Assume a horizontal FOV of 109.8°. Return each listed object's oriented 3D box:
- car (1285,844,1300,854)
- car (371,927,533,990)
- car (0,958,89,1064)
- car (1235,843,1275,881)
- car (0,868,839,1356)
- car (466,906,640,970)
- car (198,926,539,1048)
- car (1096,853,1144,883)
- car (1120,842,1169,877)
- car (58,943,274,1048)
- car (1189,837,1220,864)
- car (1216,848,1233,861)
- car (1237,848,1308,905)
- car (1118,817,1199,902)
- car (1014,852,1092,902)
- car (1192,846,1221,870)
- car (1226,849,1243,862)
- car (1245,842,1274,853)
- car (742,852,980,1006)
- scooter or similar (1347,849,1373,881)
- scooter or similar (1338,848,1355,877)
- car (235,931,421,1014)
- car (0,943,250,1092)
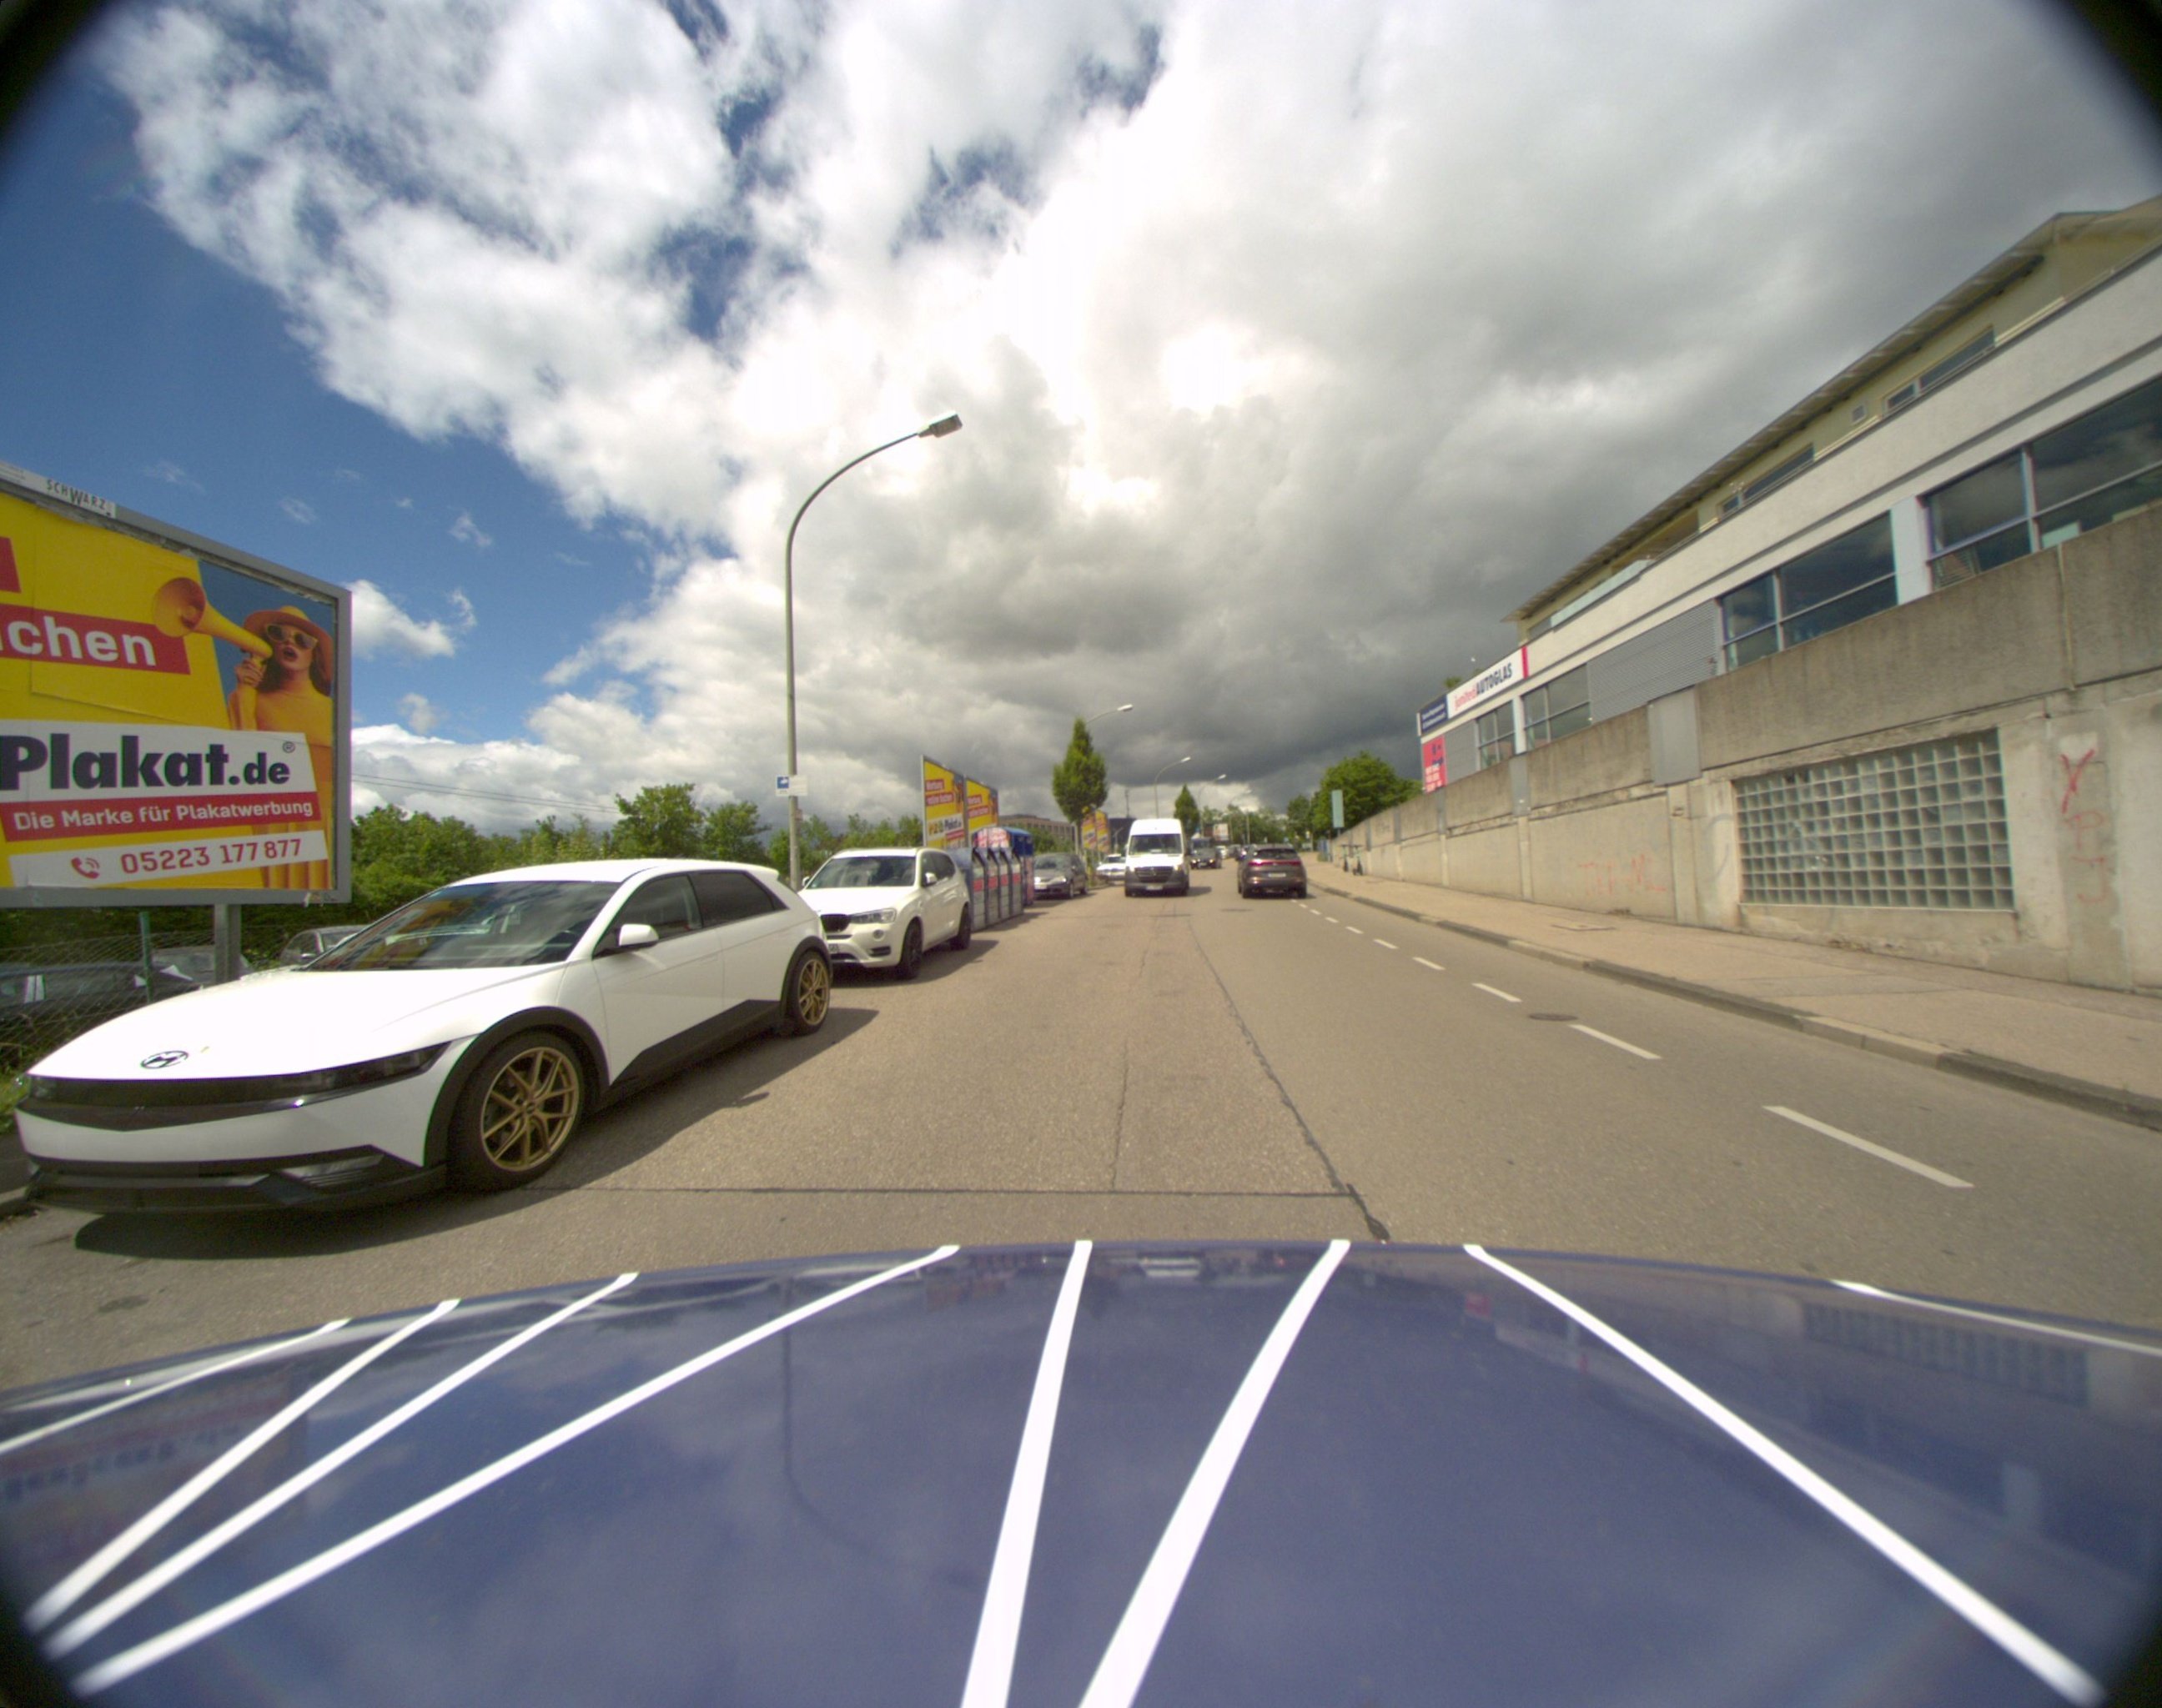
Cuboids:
[{"bbox_3d":[32.141,-0.773,115.456,1.602,1.482,3.687,-2,1,23],"label":"car"},{"bbox_3d":[-16.703,2.714,20.166,3.990,1.322,1.758,-2,1,26],"label":"car"},{"bbox_3d":[-19.112,2.692,13.023,4.033,1.382,1.747,-1,1,26],"label":"car"},{"bbox_3d":[8.862,0.377,38.826,1.629,1.807,3.782,-1,1,8],"label":"car"},{"bbox_3d":[-3.425,0.954,4.938,1.846,1.556,4.467,-1,1,6],"label":"car"},{"bbox_3d":[-15.268,2.383,21.993,4.450,1.545,2.003,-2,1,23],"label":"car"},{"bbox_3d":[-13.672,2.431,15.028,1.753,1.509,4.588,-1,1,19],"label":"car"},{"bbox_3d":[2.101,0.687,39.948,1.640,1.379,4.209,-3,0,15],"label":"car"},{"bbox_3d":[4.075,0.320,47.644,1.978,1.992,5.553,-3,0,15],"label":"car"},{"bbox_3d":[-18.413,2.730,15.285,3.990,1.602,1.799,-2,1,26],"label":"car"},{"bbox_3d":[12.455,-0.393,76.053,2.057,2.579,5.742,-3,0,18],"label":"car"},{"bbox_3d":[16.454,0.063,87.163,1.400,1.424,3.449,-3,0,18],"label":"car"},{"bbox_3d":[5.888,0.631,23.760,1.802,1.613,4.095,-1,0,9],"label":"car"},{"bbox_3d":[2.863,0.136,26.618,2.080,2.576,6.067,-3,0,12],"label":"car"},{"bbox_3d":[-0.826,0.706,25.206,1.658,1.477,4.047,-1,1,11],"label":"car"},{"bbox_3d":[8.679,0.249,52.236,1.583,1.497,3.961,-3,0,14],"label":"car"},{"bbox_3d":[18.845,0.187,93.413,1.520,1.446,3.962,-3,0,18],"label":"car"},{"bbox_3d":[34.344,-1.260,146.163,5.133,1.958,1.959,-3,1,-14],"label":"car"},{"bbox_3d":[-2.782,0.849,10.789,1.689,1.650,4.481,-2,1,5],"label":"car"},{"bbox_3d":[11.639,0.453,31.706,0.520,1.268,1.383,-5,0,3],"label":"scooter or similar"},{"bbox_3d":[12.366,0.387,35.429,0.558,1.268,1.306,-3,1,13],"label":"scooter or similar"},{"bbox_3d":[-17.800,2.711,17.954,3.990,1.550,1.825,-2,1,26],"label":"car"},{"bbox_3d":[-15.130,2.352,10.538,1.814,1.612,4.469,-1,1,20],"label":"car"}]
